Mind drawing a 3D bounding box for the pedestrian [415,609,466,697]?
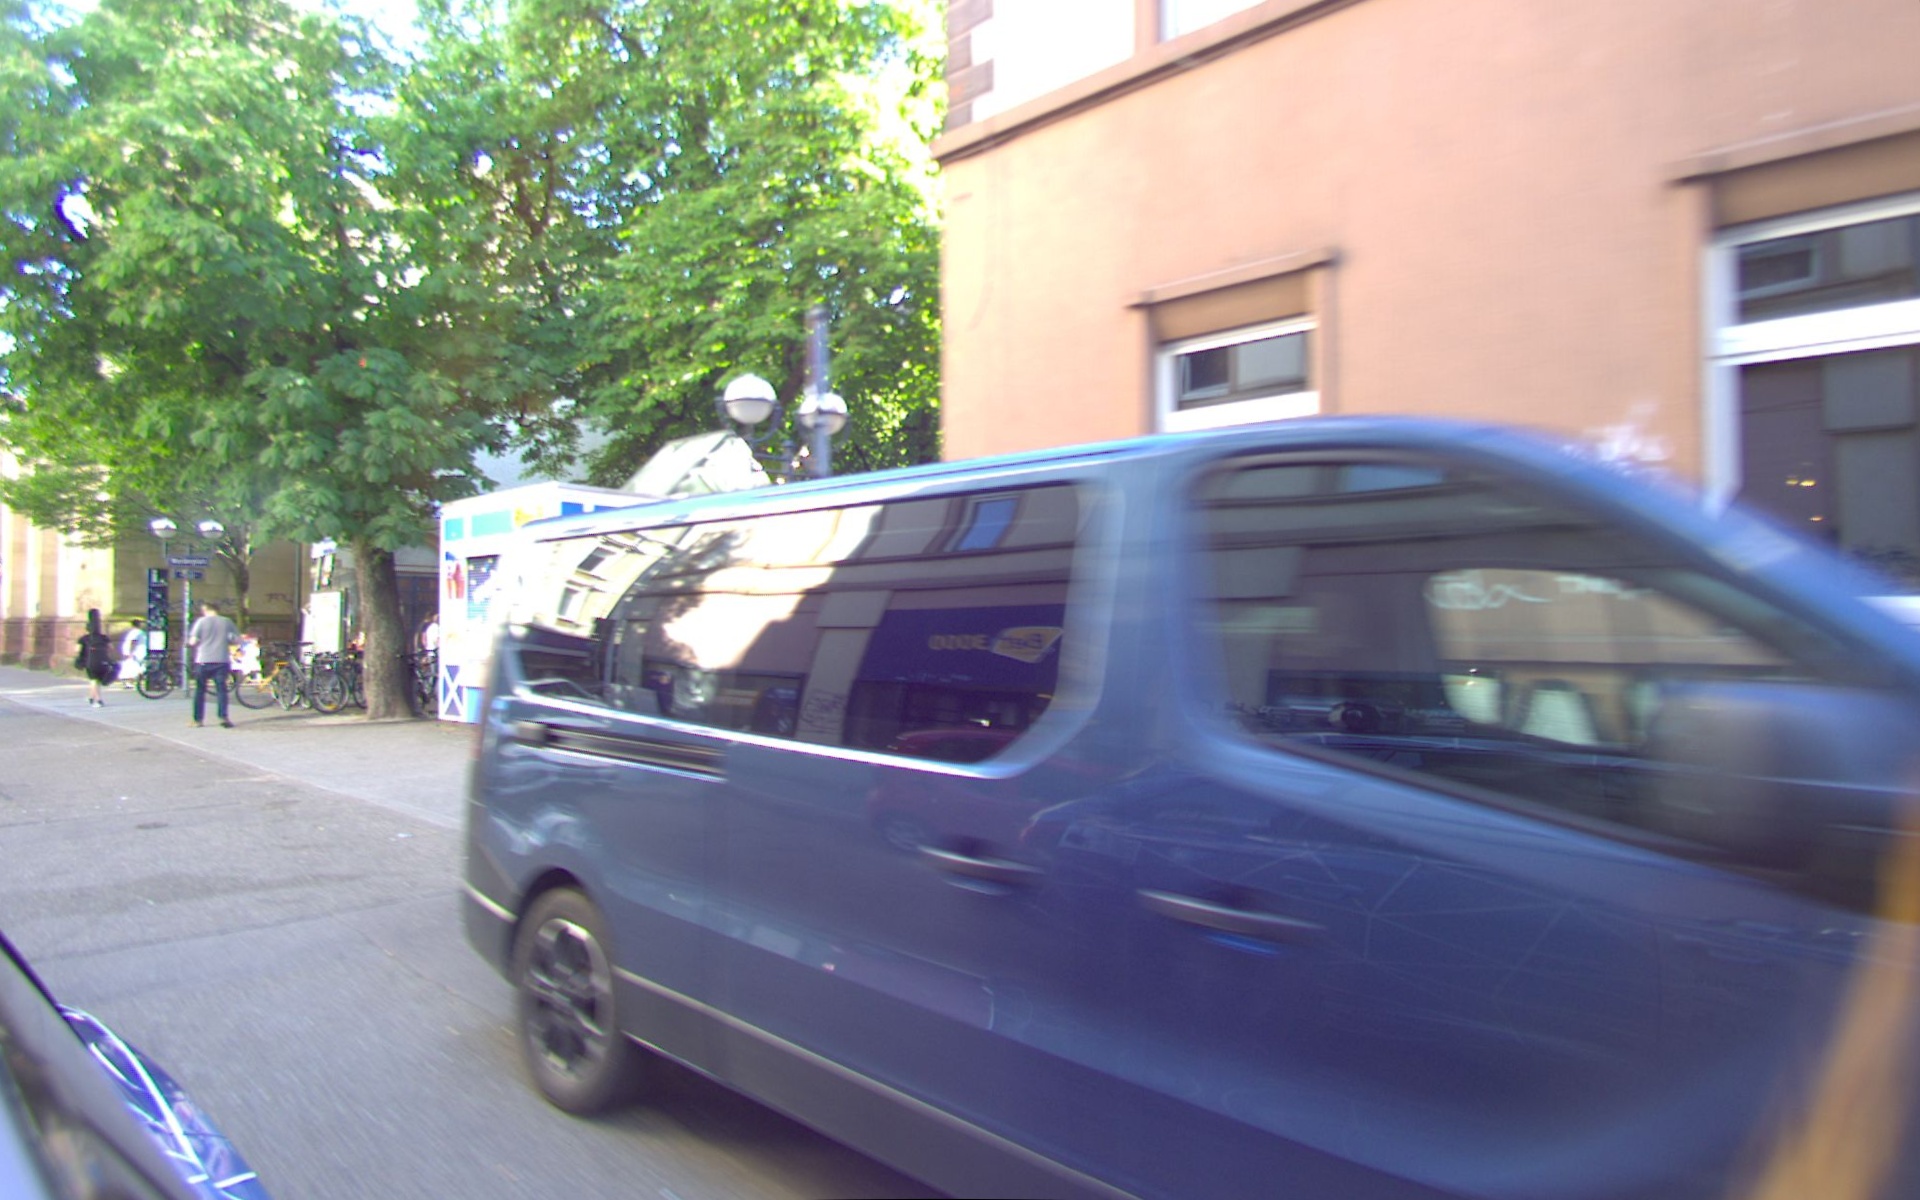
[{"bbox_3d":[-11.156,1.114,21.730,0.687,1.849,0.754,-1,-1,38],"label":"pedestrian"}]

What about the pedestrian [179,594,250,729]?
[{"bbox_3d":[-10.641,0.852,14.452,0.697,1.847,0.640,-1,0,39],"label":"pedestrian"}]

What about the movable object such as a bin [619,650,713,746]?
[{"bbox_3d":[-3.674,1.199,12.654,0.745,1.095,0.861,-1,-1,40],"label":"movable object such as a bin"}]

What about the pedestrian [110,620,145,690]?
[{"bbox_3d":[-19.488,1.274,23.694,0.713,1.605,0.474,-1,-1,37],"label":"pedestrian"}]

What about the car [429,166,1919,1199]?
[{"bbox_3d":[0.699,0.512,2.714,5.294,1.893,1.999,-2,-1,41],"label":"car"}]

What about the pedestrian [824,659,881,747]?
[{"bbox_3d":[-1.450,1.381,13.708,0.425,1.129,0.649,-1,-2,41],"label":"pedestrian"}]

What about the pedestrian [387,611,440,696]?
[{"bbox_3d":[-12.092,1.163,22.379,1.002,1.839,0.687,-1,-1,38],"label":"pedestrian"}]

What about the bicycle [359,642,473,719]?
[{"bbox_3d":[-8.545,1.239,15.869,2.027,1.139,0.494,-1,-1,26],"label":"bicycle"}]

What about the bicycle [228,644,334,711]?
[{"bbox_3d":[-12.097,1.363,18.059,1.553,1.090,0.347,0,-1,-40],"label":"bicycle"}]

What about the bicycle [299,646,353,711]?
[{"bbox_3d":[-10.695,1.307,17.048,1.577,1.054,0.289,-3,-2,40],"label":"bicycle"}]

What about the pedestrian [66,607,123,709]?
[{"bbox_3d":[-16.600,1.089,19.420,0.719,1.887,0.709,-1,-1,39],"label":"pedestrian"}]

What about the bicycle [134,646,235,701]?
[{"bbox_3d":[-16.544,1.545,21.626,0.346,1.073,1.674,-1,-1,37],"label":"bicycle"}]

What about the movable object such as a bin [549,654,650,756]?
[{"bbox_3d":[-4.263,1.206,11.961,0.773,1.095,0.861,-1,-1,40],"label":"movable object such as a bin"}]

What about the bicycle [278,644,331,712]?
[{"bbox_3d":[-10.899,1.279,16.805,1.577,1.091,0.289,-3,-2,40],"label":"bicycle"}]

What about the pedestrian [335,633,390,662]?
[{"bbox_3d":[-17.123,1.355,29.013,1.405,0.766,0.947,-1,-1,39],"label":"pedestrian"}]
